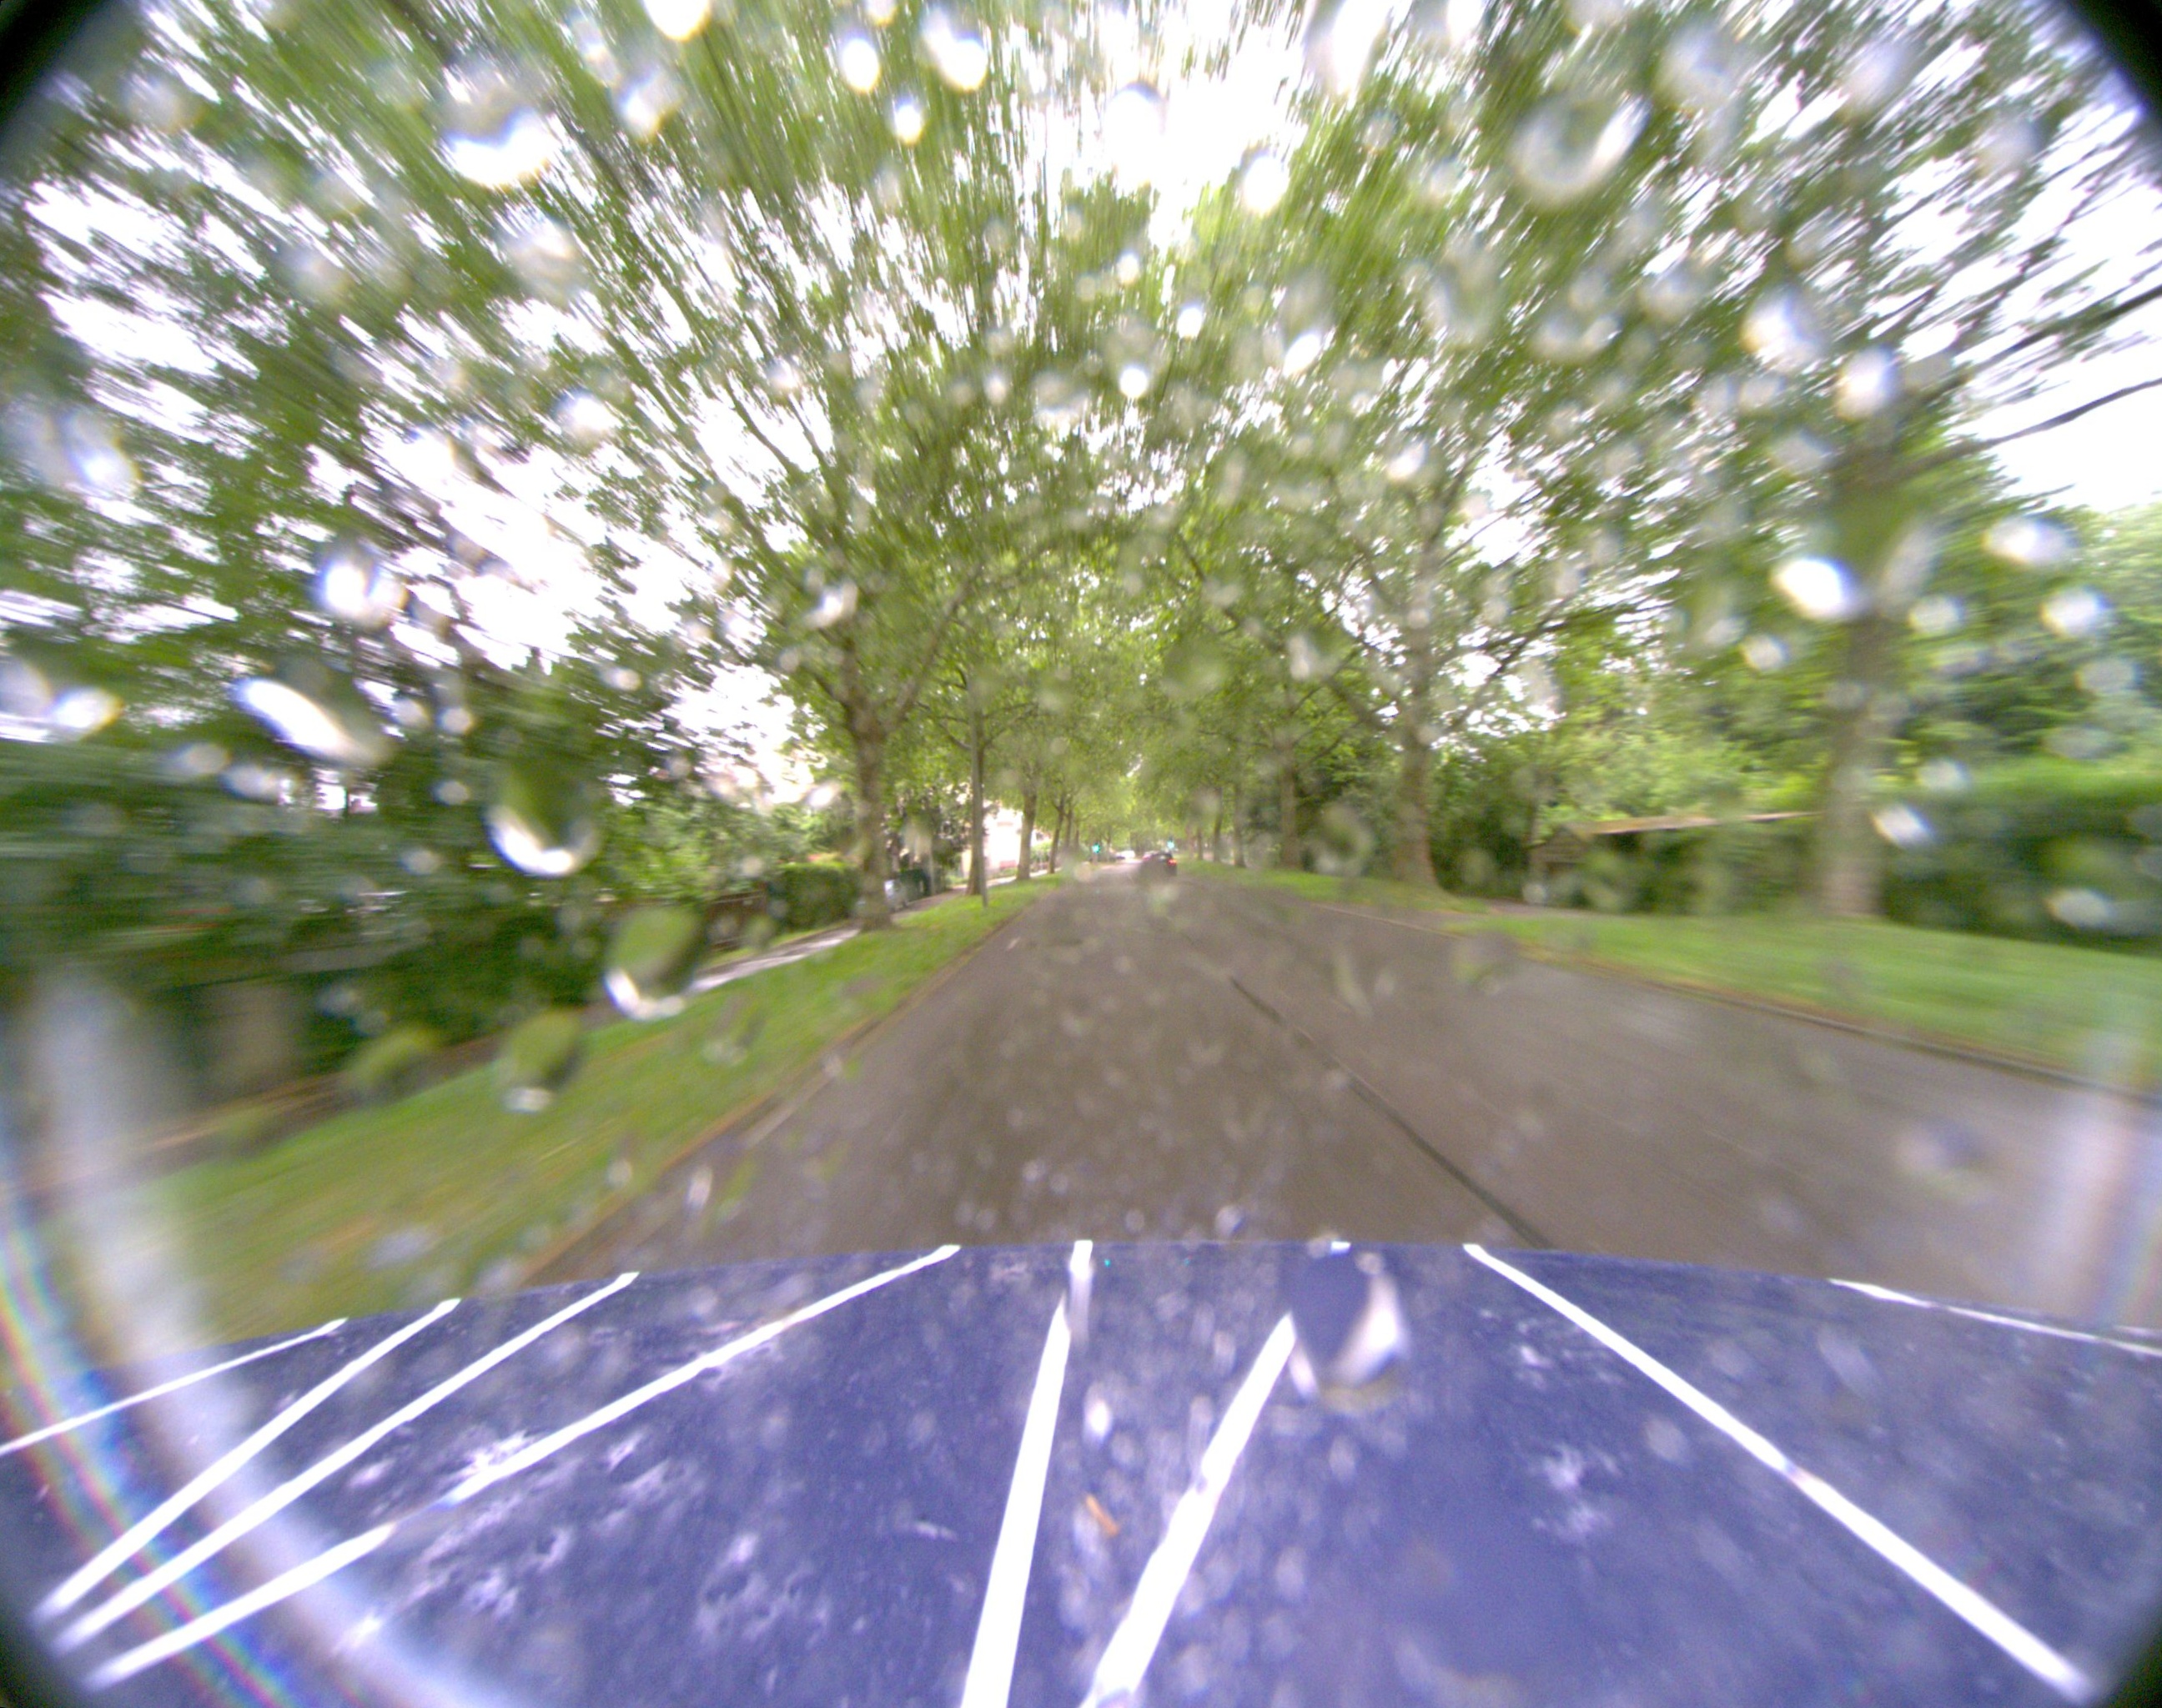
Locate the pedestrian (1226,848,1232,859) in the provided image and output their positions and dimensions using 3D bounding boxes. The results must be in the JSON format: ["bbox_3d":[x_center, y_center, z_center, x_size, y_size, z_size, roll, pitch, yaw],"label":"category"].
[{"bbox_3d":[16.324,-0.068,83.930,0.517,1.254,0.849,-3,1,5],"label":"pedestrian"}]

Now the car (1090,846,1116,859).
[{"bbox_3d":[3.784,-0.253,129.348,4.261,1.845,1.892,-4,1,3],"label":"car"}]

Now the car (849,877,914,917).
[{"bbox_3d":[-8.916,1.879,34.278,1.800,1.317,3.999,-8,1,-1],"label":"car"}]

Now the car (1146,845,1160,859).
[{"bbox_3d":[9.926,-0.275,105.171,1.812,1.718,4.456,-3,0,5],"label":"car"}]

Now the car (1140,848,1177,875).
[{"bbox_3d":[4.912,0.448,48.499,1.850,1.493,4.000,-4,0,0],"label":"car"}]
